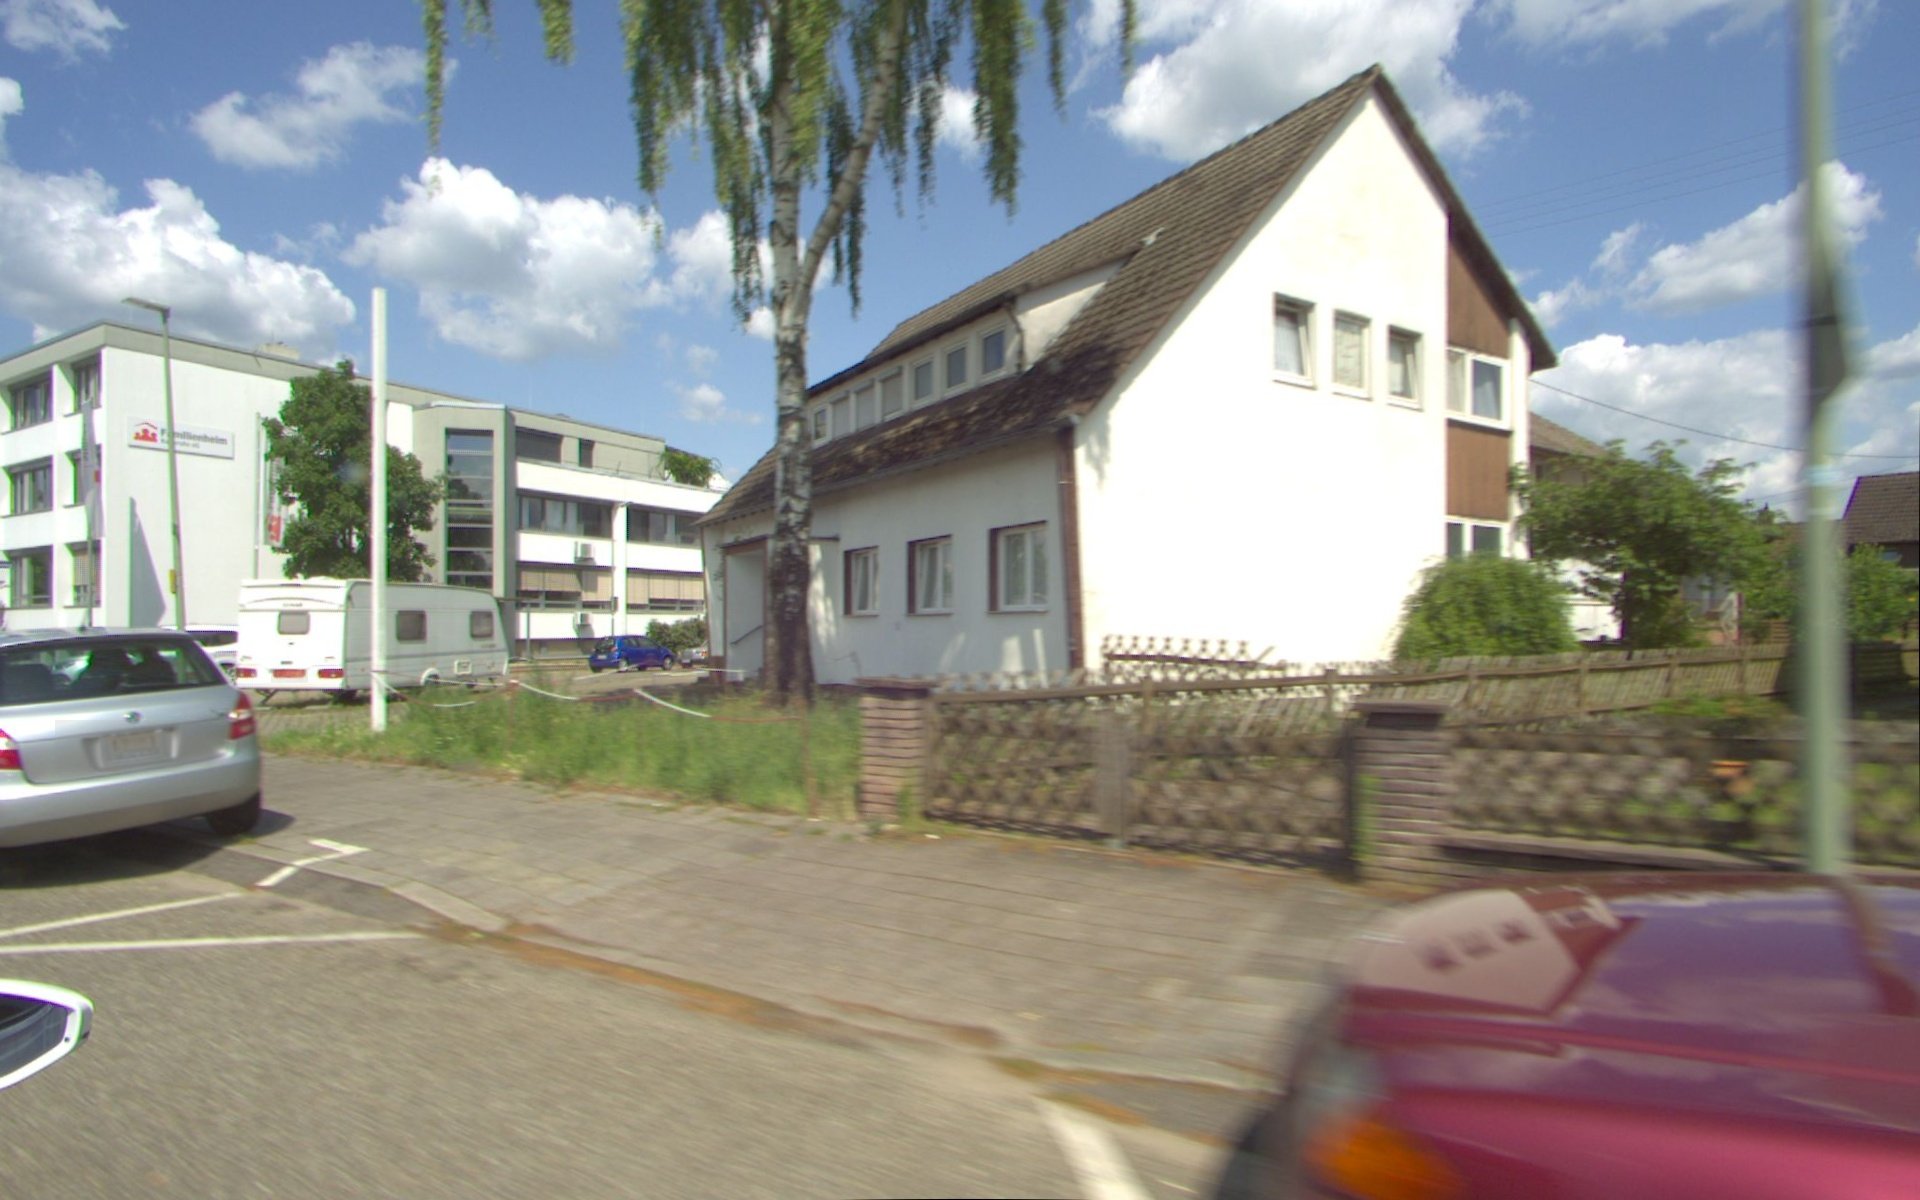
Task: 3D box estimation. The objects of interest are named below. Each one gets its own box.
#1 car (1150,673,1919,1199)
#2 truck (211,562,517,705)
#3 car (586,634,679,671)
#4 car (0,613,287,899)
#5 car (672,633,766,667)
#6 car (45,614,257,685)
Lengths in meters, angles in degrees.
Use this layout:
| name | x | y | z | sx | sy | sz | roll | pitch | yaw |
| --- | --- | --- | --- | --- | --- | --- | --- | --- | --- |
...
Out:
| name | x | y | z | sx | sy | sz | roll | pitch | yaw |
| --- | --- | --- | --- | --- | --- | --- | --- | --- | --- |
| car | 2.626 | 0.859 | 1.359 | 4.373 | 1.352 | 1.667 | -1 | -2 | 31 |
| truck | -12.299 | 0.712 | 21.409 | 2.516 | 2.610 | 6.062 | 0 | -2 | 5 |
| car | -12.995 | 2.050 | 39.917 | 1.593 | 1.416 | 3.351 | -1 | -2 | 29 |
| car | -6.687 | 0.934 | 7.229 | 3.944 | 1.600 | 1.608 | -1 | -3 | 33 |
| car | -10.594 | 2.155 | 44.234 | 1.593 | 1.416 | 4.237 | -1 | -2 | 29 |
| car | -21.837 | 1.335 | 27.199 | 4.362 | 1.774 | 1.850 | 1 | -4 | -41 |
